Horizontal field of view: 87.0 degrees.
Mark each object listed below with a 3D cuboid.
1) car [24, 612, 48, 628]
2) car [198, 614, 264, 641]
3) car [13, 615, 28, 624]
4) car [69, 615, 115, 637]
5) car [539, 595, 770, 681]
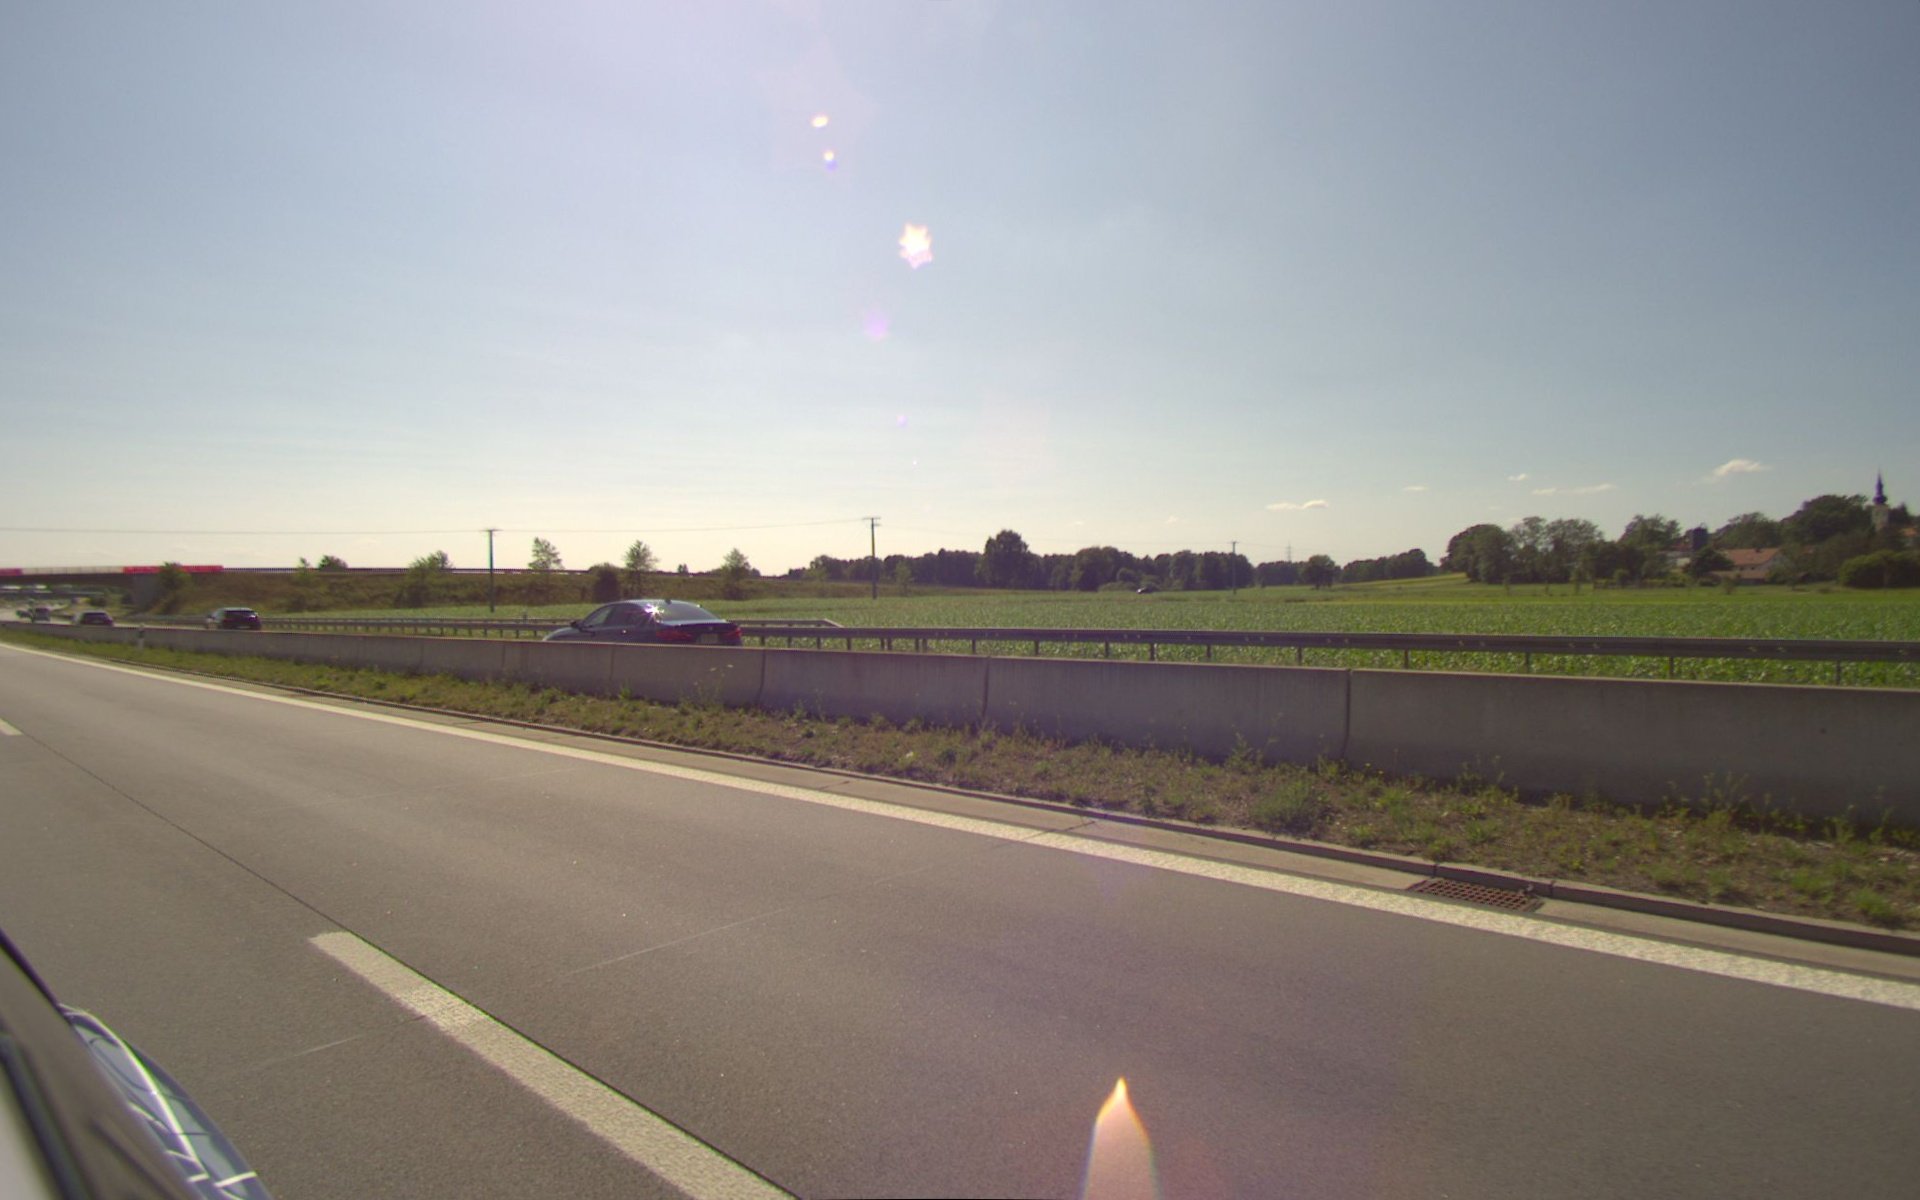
[{"bbox_3d":[-127.538,2.742,139.671,5.614,2.029,1.972,0,0,43],"label":"car"},{"bbox_3d":[-38.300,1.433,53.121,4.661,1.375,1.804,-2,-1,41],"label":"car"},{"bbox_3d":[-174.563,3.629,188.000,4.587,1.525,1.839,-1,1,44],"label":"car"},{"bbox_3d":[-56.869,1.729,66.288,5.199,1.375,1.802,-2,-2,44],"label":"car"},{"bbox_3d":[-5.644,0.663,18.406,4.656,1.375,1.804,-2,-1,40],"label":"car"}]
